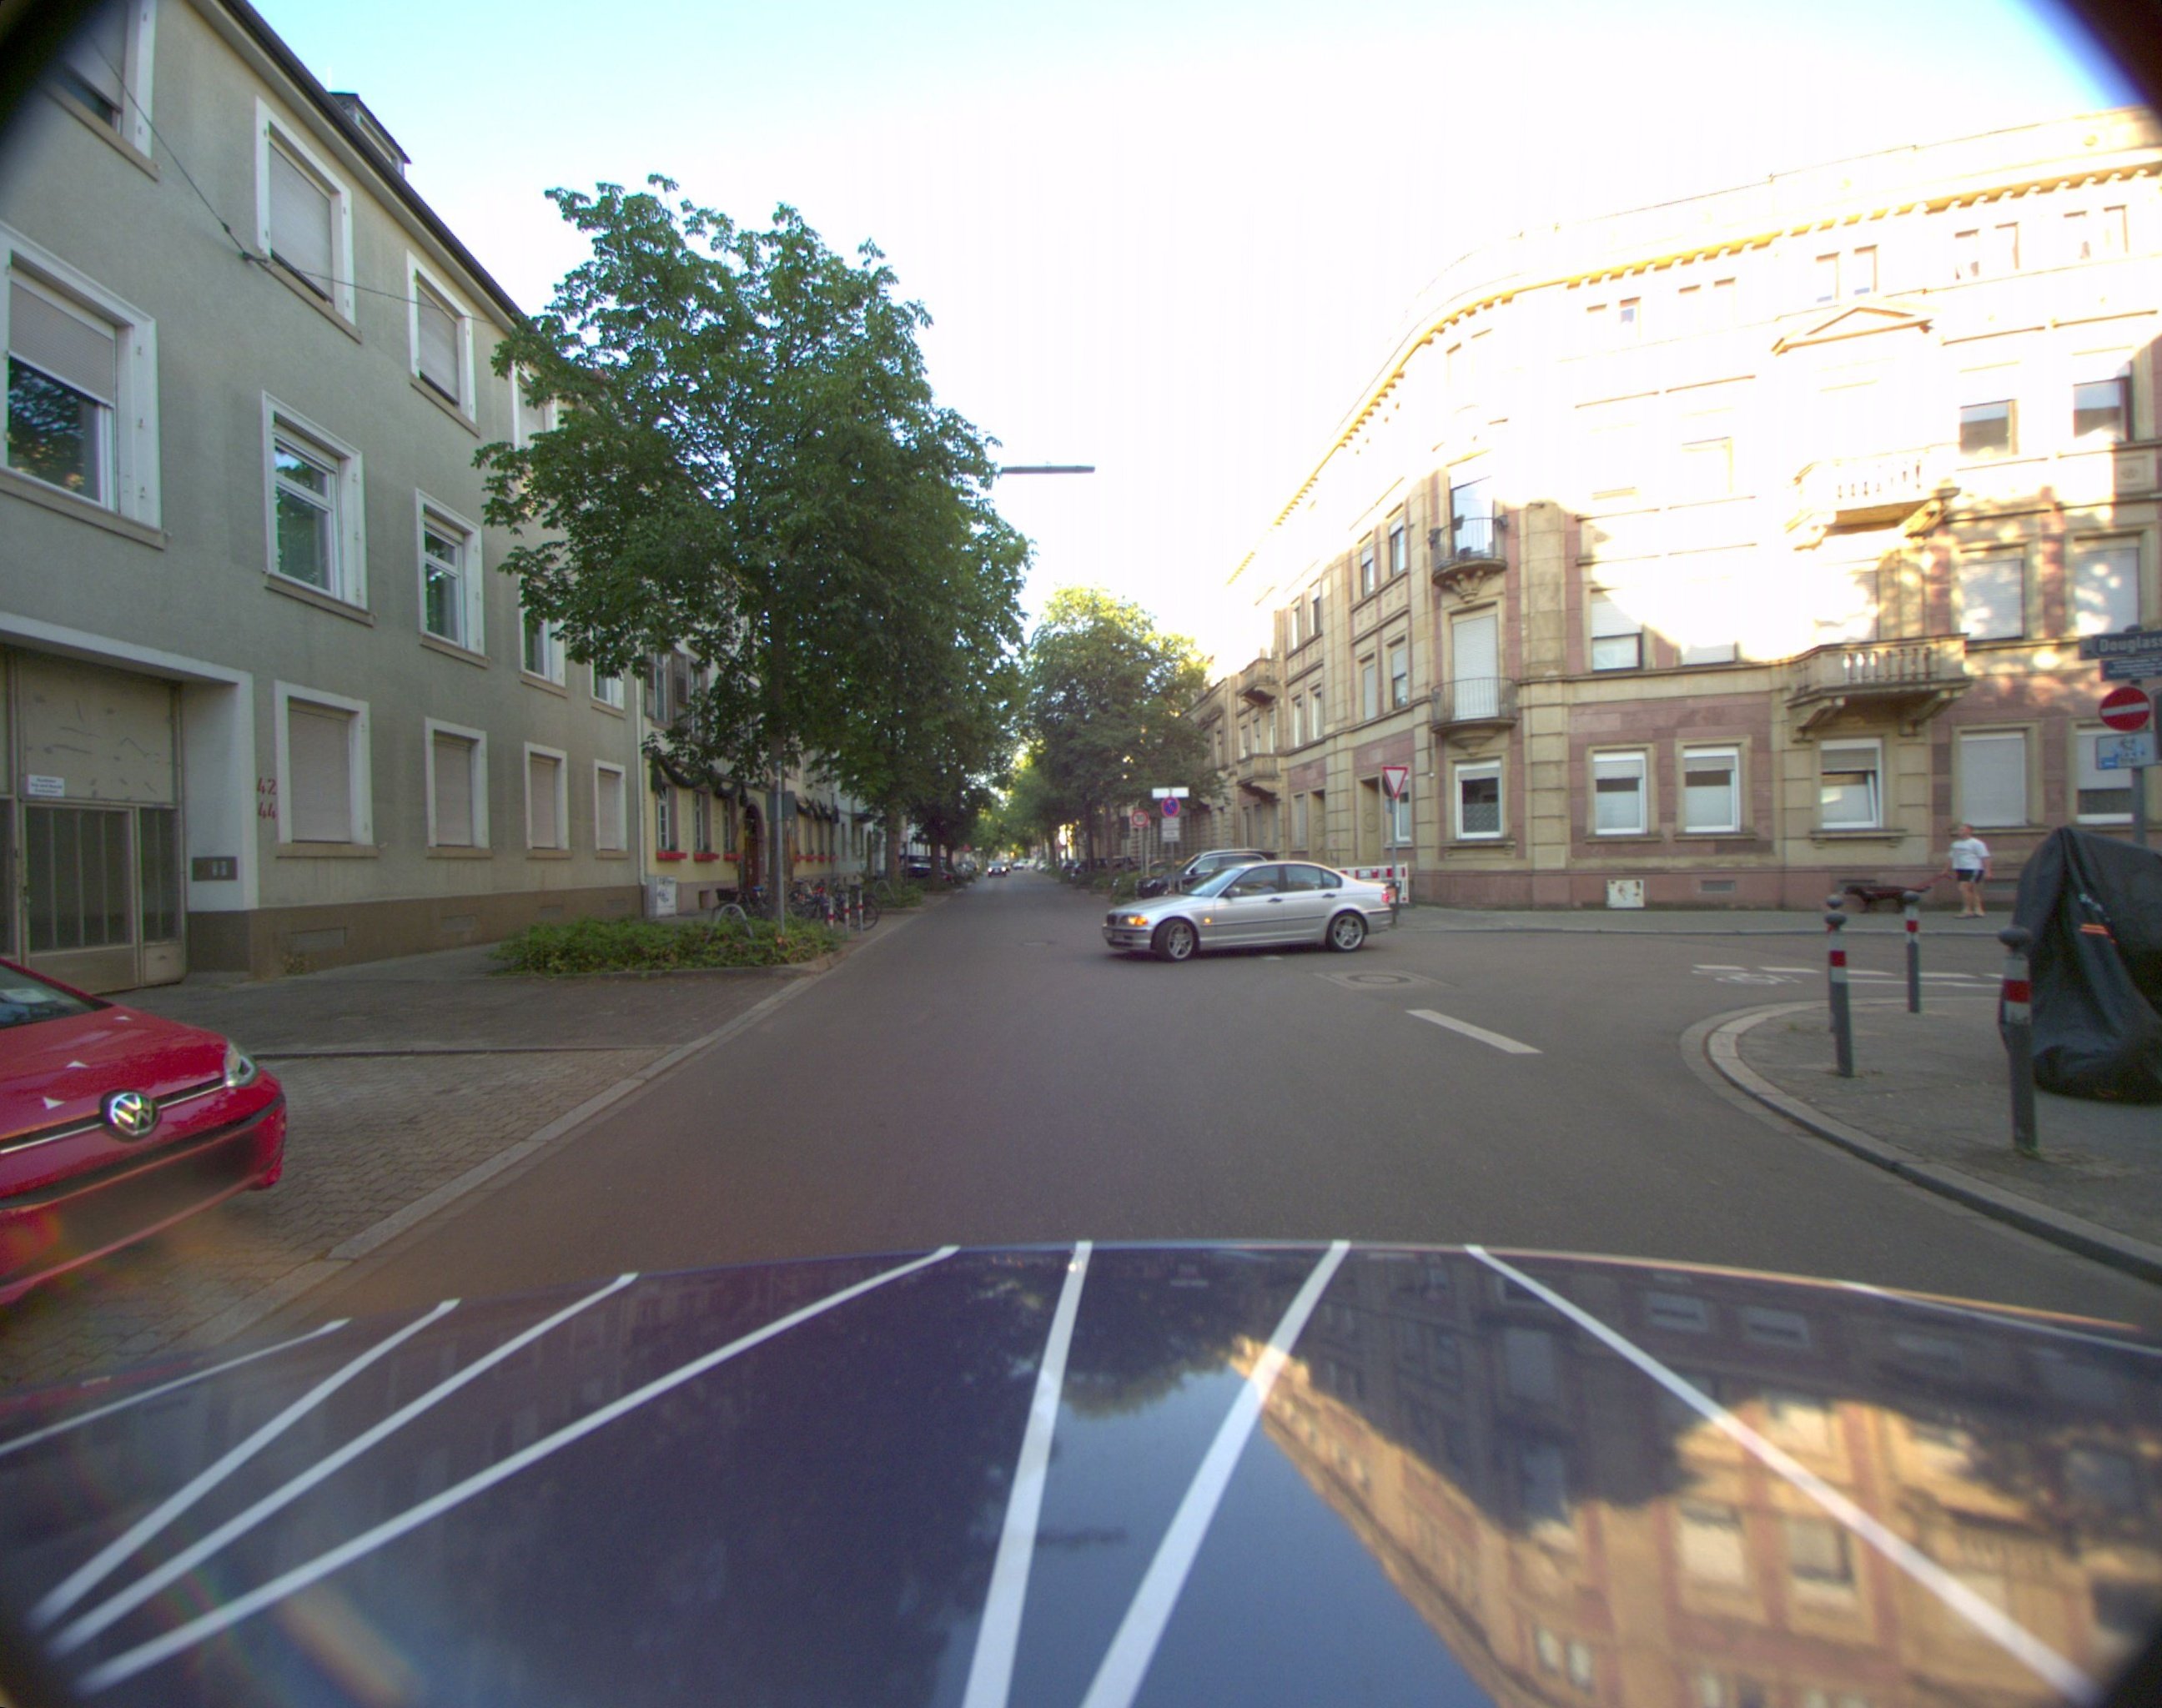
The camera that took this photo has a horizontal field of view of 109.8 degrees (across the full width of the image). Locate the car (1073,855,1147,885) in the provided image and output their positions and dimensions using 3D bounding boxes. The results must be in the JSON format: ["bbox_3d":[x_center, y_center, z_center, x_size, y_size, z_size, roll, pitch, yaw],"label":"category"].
[{"bbox_3d":[1.758,0.971,47.407,4.444,1.728,1.776,-1,0,-4],"label":"car"}]

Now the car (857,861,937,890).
[{"bbox_3d":[-11.072,1.301,45.980,4.444,1.603,1.776,-1,0,-4],"label":"car"}]

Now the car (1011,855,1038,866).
[{"bbox_3d":[-9.311,0.997,125.892,4.008,1.753,1.994,-1,0,-43],"label":"car"}]

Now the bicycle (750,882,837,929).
[{"bbox_3d":[-7.396,1.315,19.611,2.042,1.139,0.421,-1,0,-6],"label":"bicycle"}]

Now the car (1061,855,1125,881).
[{"bbox_3d":[0.825,0.987,54.373,4.444,1.728,1.776,-1,0,-4],"label":"car"}]

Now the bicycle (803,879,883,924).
[{"bbox_3d":[-6.495,1.288,20.800,2.042,1.139,0.421,-1,0,-6],"label":"bicycle"}]

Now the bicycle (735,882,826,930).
[{"bbox_3d":[-7.449,1.283,18.902,2.042,1.139,0.421,-1,0,-6],"label":"bicycle"}]

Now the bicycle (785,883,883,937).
[{"bbox_3d":[-5.607,1.263,17.318,2.041,1.139,0.446,-1,0,-5],"label":"bicycle"}]

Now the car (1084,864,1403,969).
[{"bbox_3d":[2.425,0.875,11.619,4.473,1.395,1.681,0,-1,-14],"label":"car"}]

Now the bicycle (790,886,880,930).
[{"bbox_3d":[-5.991,1.316,18.555,2.042,0.998,0.421,-1,0,-6],"label":"bicycle"}]

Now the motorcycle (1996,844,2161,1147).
[{"bbox_3d":[6.436,0.722,4.578,2.165,1.546,0.668,-1,0,-26],"label":"motorcycle"}]

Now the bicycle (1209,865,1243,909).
[{"bbox_3d":[3.898,0.866,20.497,0.364,1.083,1.869,-3,1,-5],"label":"bicycle"}]

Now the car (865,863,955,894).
[{"bbox_3d":[-9.028,1.281,40.417,4.444,1.496,1.776,-1,0,-4],"label":"car"}]

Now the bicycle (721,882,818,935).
[{"bbox_3d":[-7.220,1.259,17.668,2.042,1.139,0.421,-1,0,-6],"label":"bicycle"}]

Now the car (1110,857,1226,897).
[{"bbox_3d":[3.530,0.928,31.162,4.444,1.478,1.776,-1,0,-4],"label":"car"}]

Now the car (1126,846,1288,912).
[{"bbox_3d":[3.834,0.738,23.568,4.590,1.728,1.775,-3,1,-4],"label":"car"}]

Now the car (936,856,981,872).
[{"bbox_3d":[-12.619,1.019,78.675,4.444,1.603,1.776,-1,0,-4],"label":"car"}]

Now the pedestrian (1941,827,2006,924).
[{"bbox_3d":[16.340,0.386,13.925,0.567,1.733,0.551,0,1,16],"label":"pedestrian"}]

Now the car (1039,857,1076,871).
[{"bbox_3d":[-2.848,1.194,92.707,4.444,1.638,1.776,-1,0,-4],"label":"car"}]

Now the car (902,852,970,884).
[{"bbox_3d":[-10.087,0.947,53.036,4.444,2.110,1.776,-1,0,-4],"label":"car"}]

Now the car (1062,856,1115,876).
[{"bbox_3d":[0.537,0.946,60.145,4.032,1.474,1.776,-1,0,-4],"label":"car"}]

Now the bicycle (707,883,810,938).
[{"bbox_3d":[-7.095,1.240,16.771,2.041,1.139,0.446,-1,0,-2],"label":"bicycle"}]

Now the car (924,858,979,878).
[{"bbox_3d":[-11.181,1.201,65.848,4.444,1.603,1.776,-1,0,-4],"label":"car"}]

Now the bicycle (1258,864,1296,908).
[{"bbox_3d":[5.312,0.841,20.675,0.364,1.083,1.869,-3,1,-5],"label":"bicycle"}]

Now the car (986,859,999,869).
[{"bbox_3d":[-13.183,1.462,113.148,1.828,1.364,3.998,-1,0,-5],"label":"car"}]

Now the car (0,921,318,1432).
[{"bbox_3d":[-5.165,1.046,2.404,3.667,1.467,1.565,0,0,-7],"label":"car"}]
